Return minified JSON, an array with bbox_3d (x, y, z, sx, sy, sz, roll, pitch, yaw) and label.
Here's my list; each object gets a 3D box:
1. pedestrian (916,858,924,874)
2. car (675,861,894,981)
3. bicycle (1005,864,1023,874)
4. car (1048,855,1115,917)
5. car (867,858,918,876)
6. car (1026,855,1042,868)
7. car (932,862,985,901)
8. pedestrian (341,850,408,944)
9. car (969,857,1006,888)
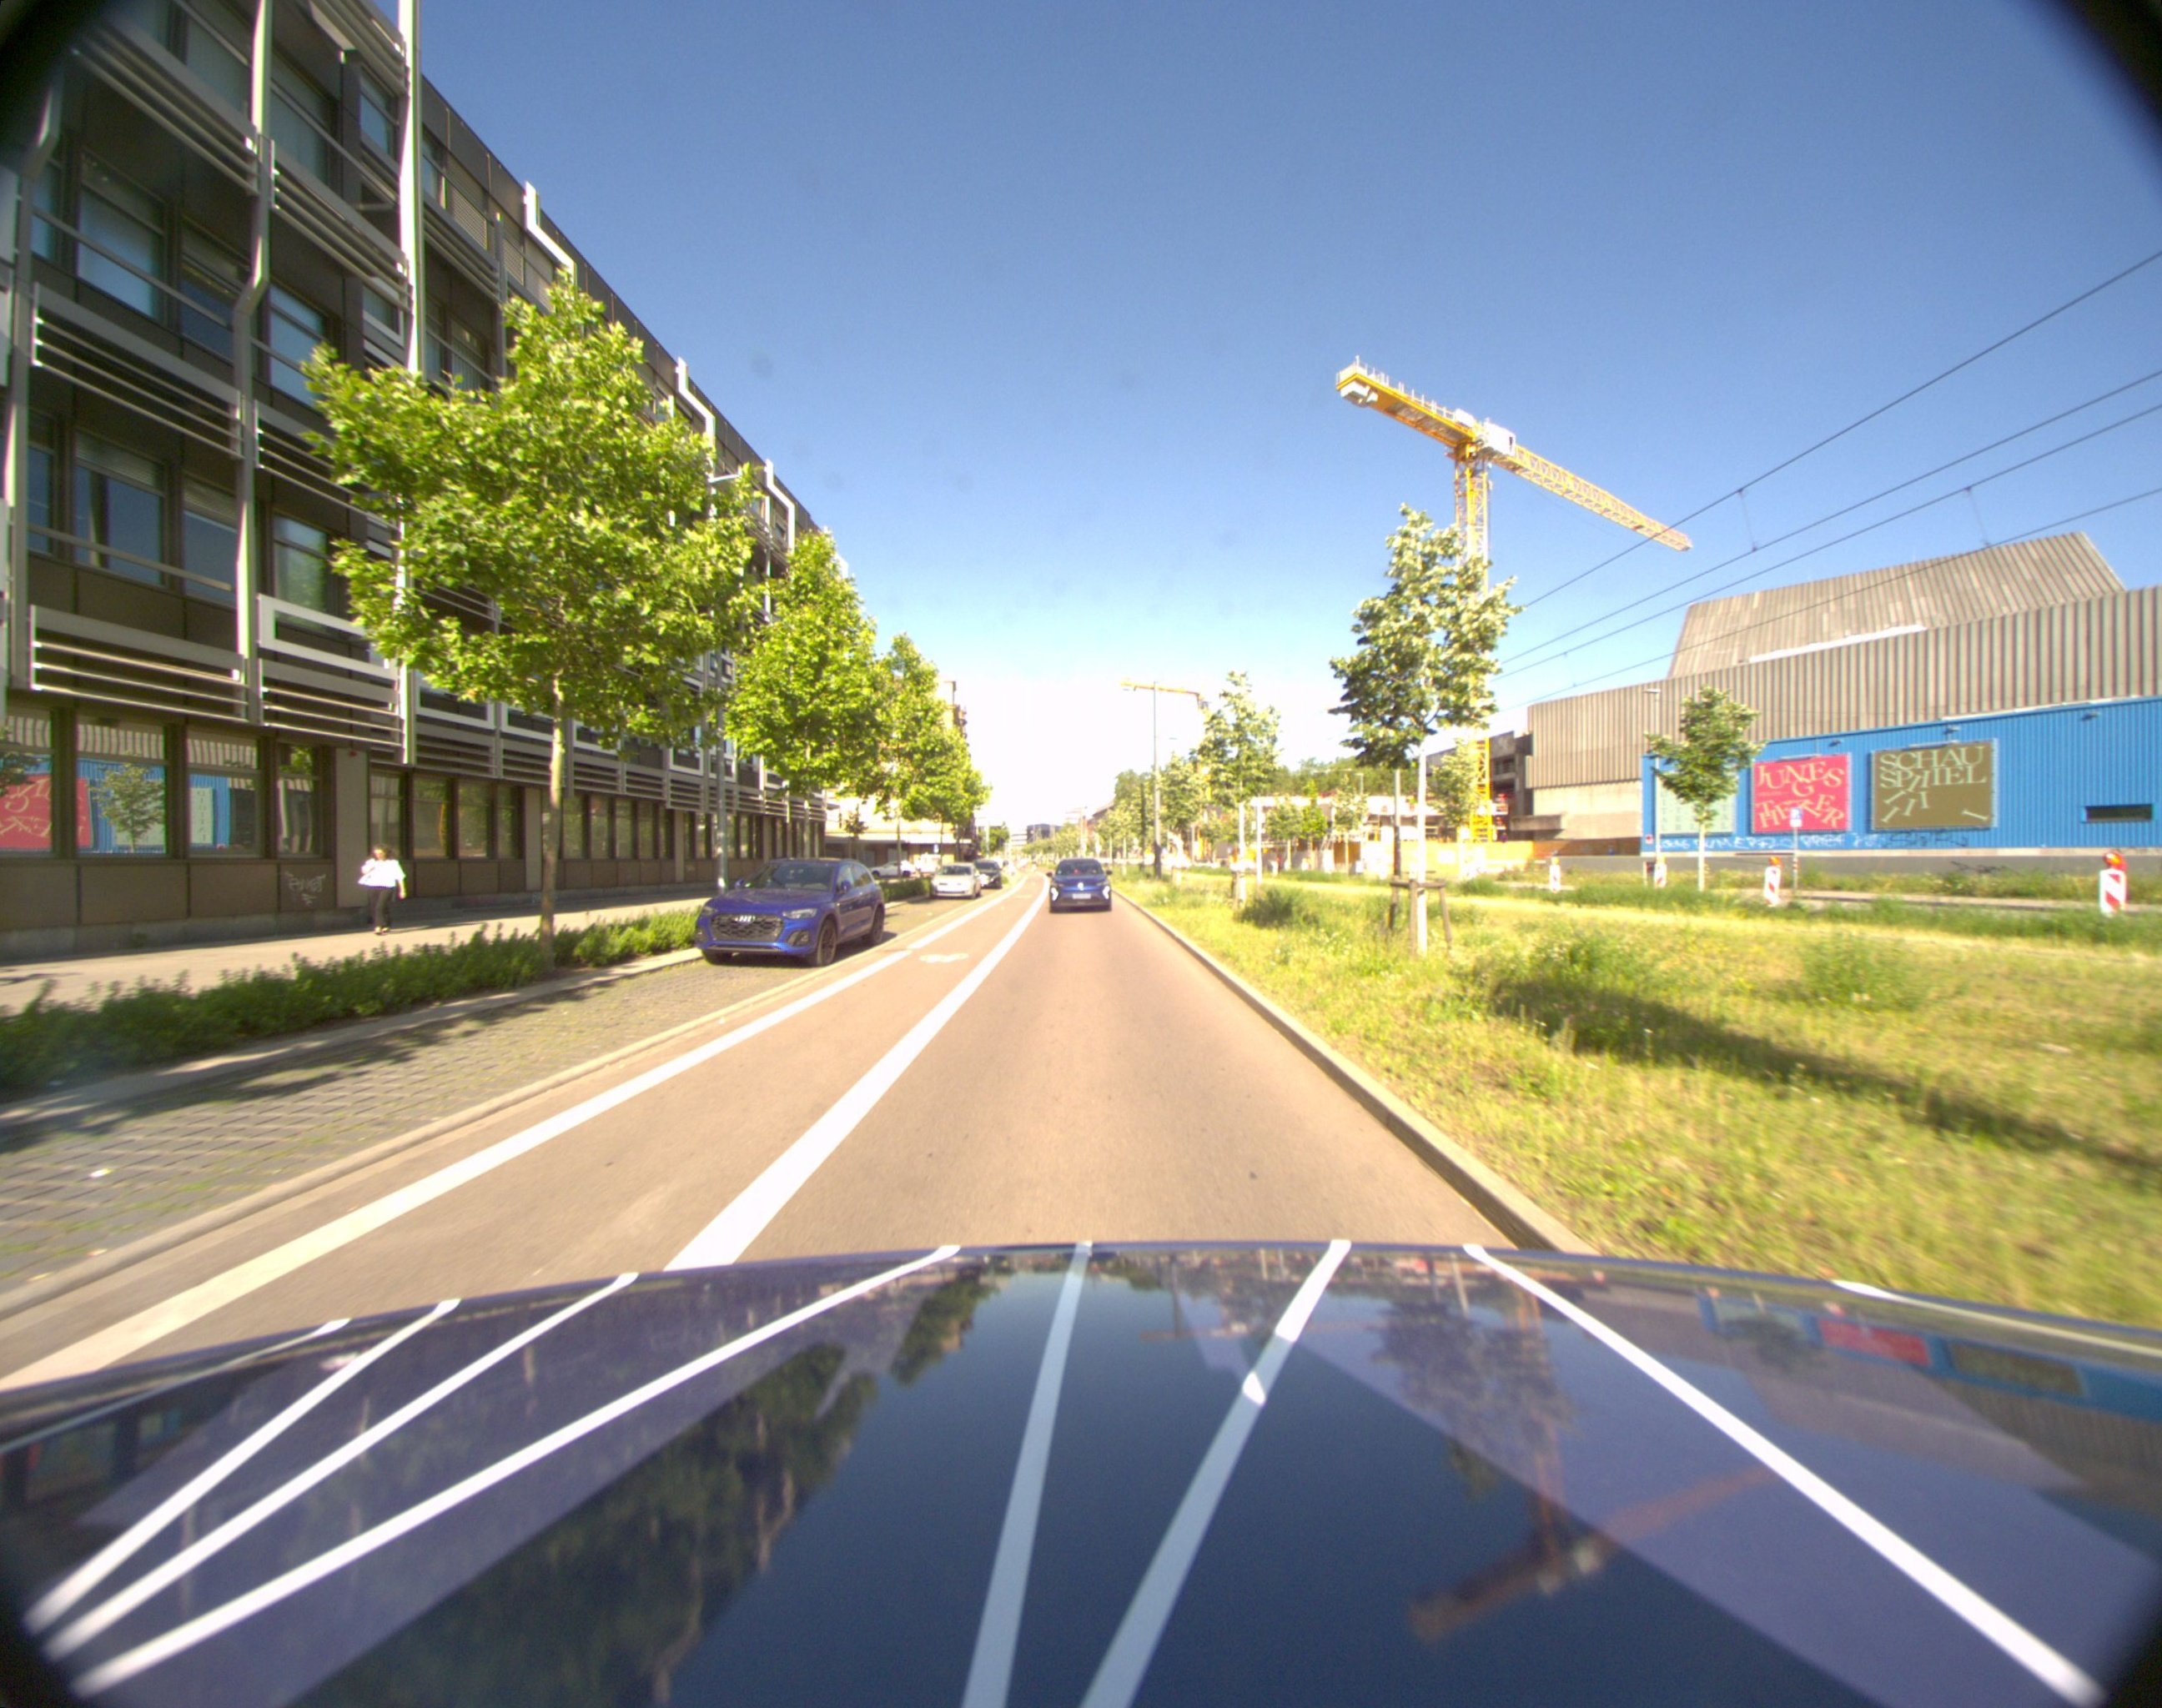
[{"bbox_3d":[-14.958,1.094,70.621,0.683,1.442,0.543,-1,0,-10],"label":"pedestrian"},{"bbox_3d":[-4.781,0.963,13.155,1.854,1.647,4.848,1,0,0],"label":"car"},{"bbox_3d":[-7.938,1.783,89.684,2.055,1.113,0.602,1,1,-6],"label":"bicycle"},{"bbox_3d":[0.069,0.916,23.262,1.749,1.613,4.153,-4,0,1],"label":"car"},{"bbox_3d":[-17.107,1.161,68.921,4.410,1.535,1.851,0,0,-13],"label":"car"},{"bbox_3d":[-6.827,1.059,110.655,1.822,1.783,4.000,-3,1,3],"label":"car"},{"bbox_3d":[-5.009,1.070,31.470,1.622,1.456,4.154,1,0,-2],"label":"car"},{"bbox_3d":[-12.553,0.745,13.515,0.512,1.613,0.674,2,0,2],"label":"pedestrian"},{"bbox_3d":[-5.256,1.003,43.074,1.752,1.649,4.468,-1,0,-3],"label":"car"}]
